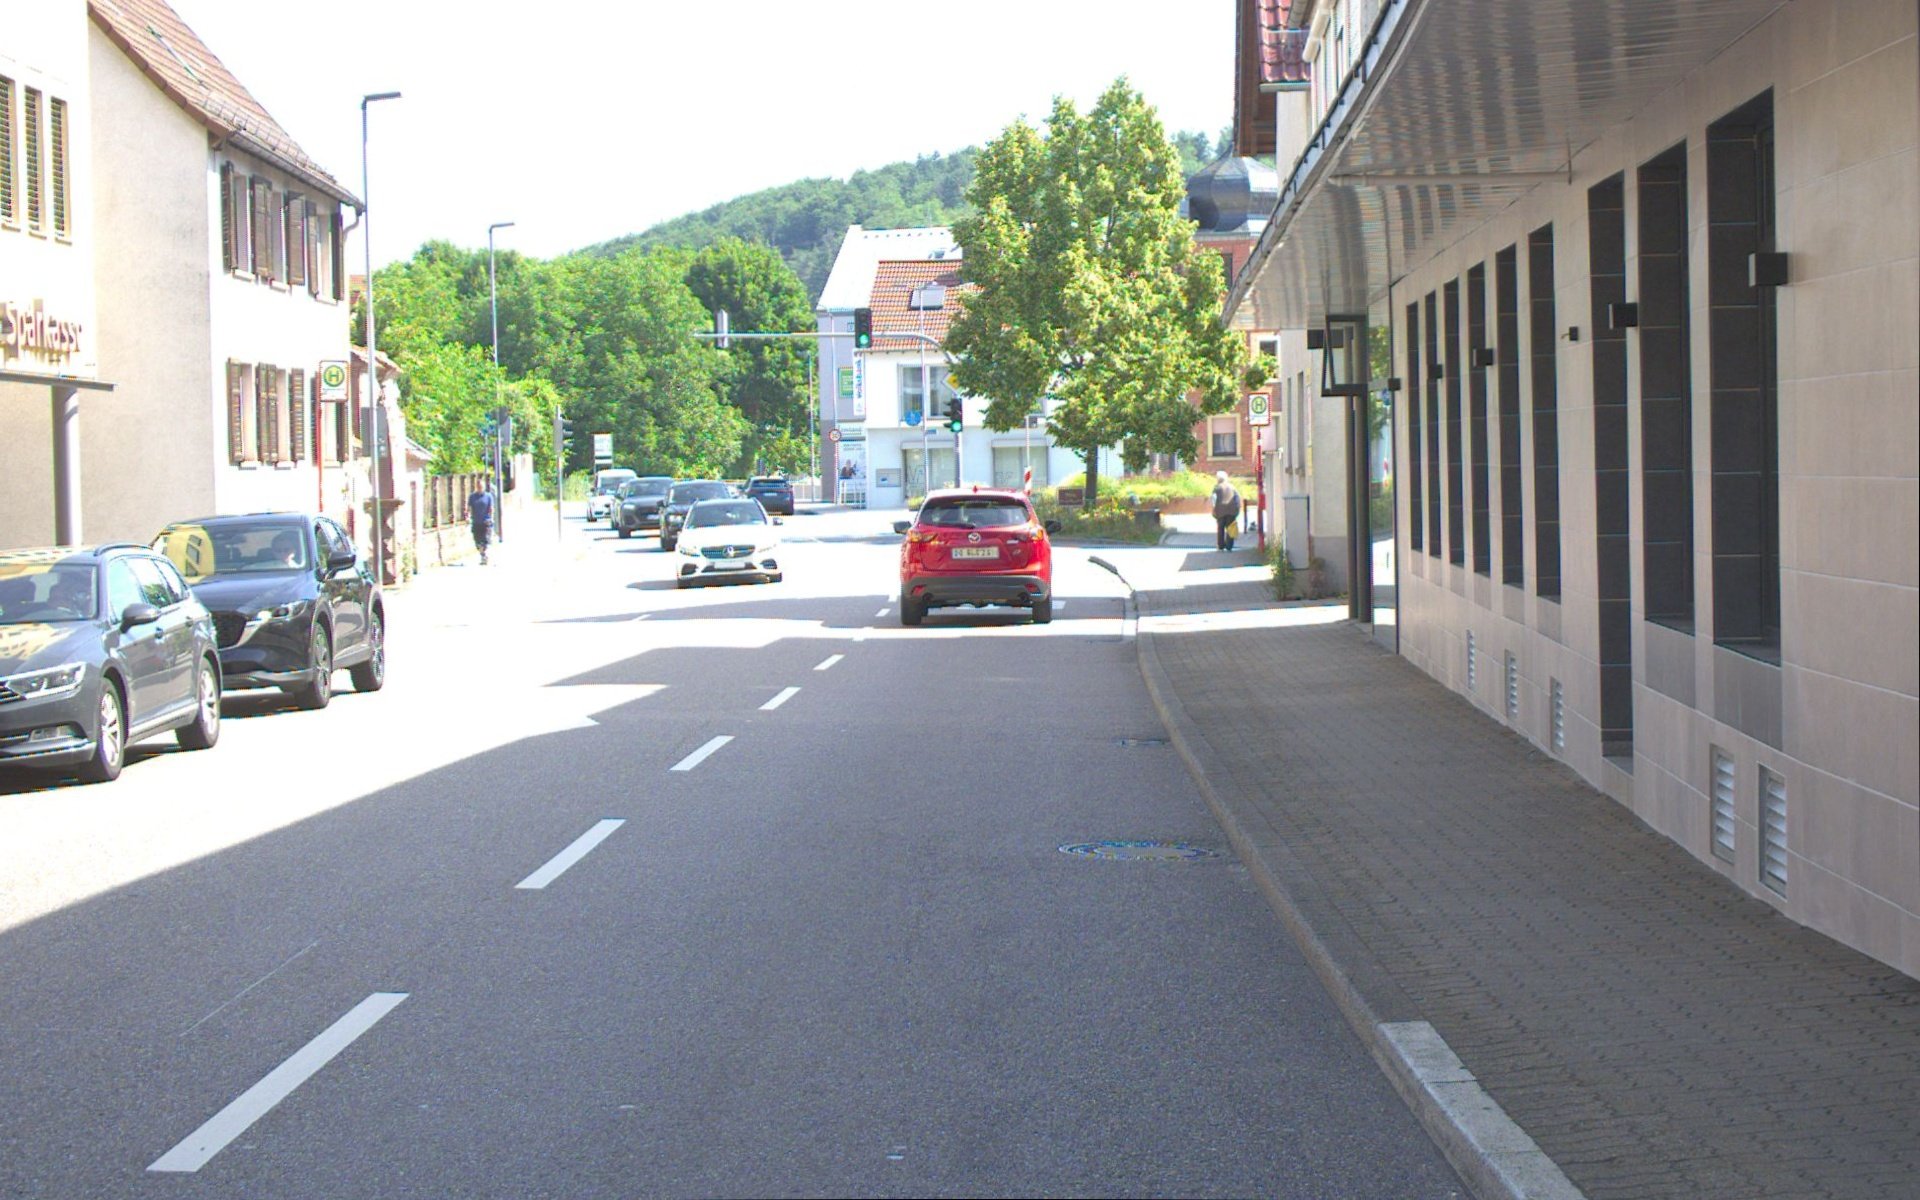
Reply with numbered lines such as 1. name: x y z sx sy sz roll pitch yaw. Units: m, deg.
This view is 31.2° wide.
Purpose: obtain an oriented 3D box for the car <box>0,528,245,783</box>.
1. car: -6.011 0.304 22.188 1.789 1.445 4.424 -2 1 0

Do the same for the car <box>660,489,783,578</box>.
1. car: -4.172 -1.189 60.831 1.987 1.439 5.102 -2 1 -2

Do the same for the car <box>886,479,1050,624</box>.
1. car: 0.152 -0.633 42.706 1.859 1.709 4.422 0 2 2

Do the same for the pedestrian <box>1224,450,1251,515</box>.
1. pedestrian: 8.185 -3.448 101.291 0.642 1.872 0.652 -2 0 -5

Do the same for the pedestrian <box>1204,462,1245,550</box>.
1. pedestrian: 5.204 -1.849 67.726 0.642 1.701 0.700 -2 0 -5

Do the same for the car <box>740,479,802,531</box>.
1. car: -7.093 -3.568 129.384 1.932 1.788 3.956 -2 0 2

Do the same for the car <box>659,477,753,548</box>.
1. car: -6.101 -2.128 82.976 1.839 1.527 4.253 -2 3 1

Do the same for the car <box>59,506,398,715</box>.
1. car: -6.186 0.026 29.592 1.867 1.584 4.518 -2 1 0

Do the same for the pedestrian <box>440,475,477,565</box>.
1. pedestrian: -10.390 -1.658 71.271 0.665 1.818 0.799 -2 0 -5

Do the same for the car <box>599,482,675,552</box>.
1. car: -8.980 -2.297 95.821 1.774 1.778 3.839 -2 0 -1
